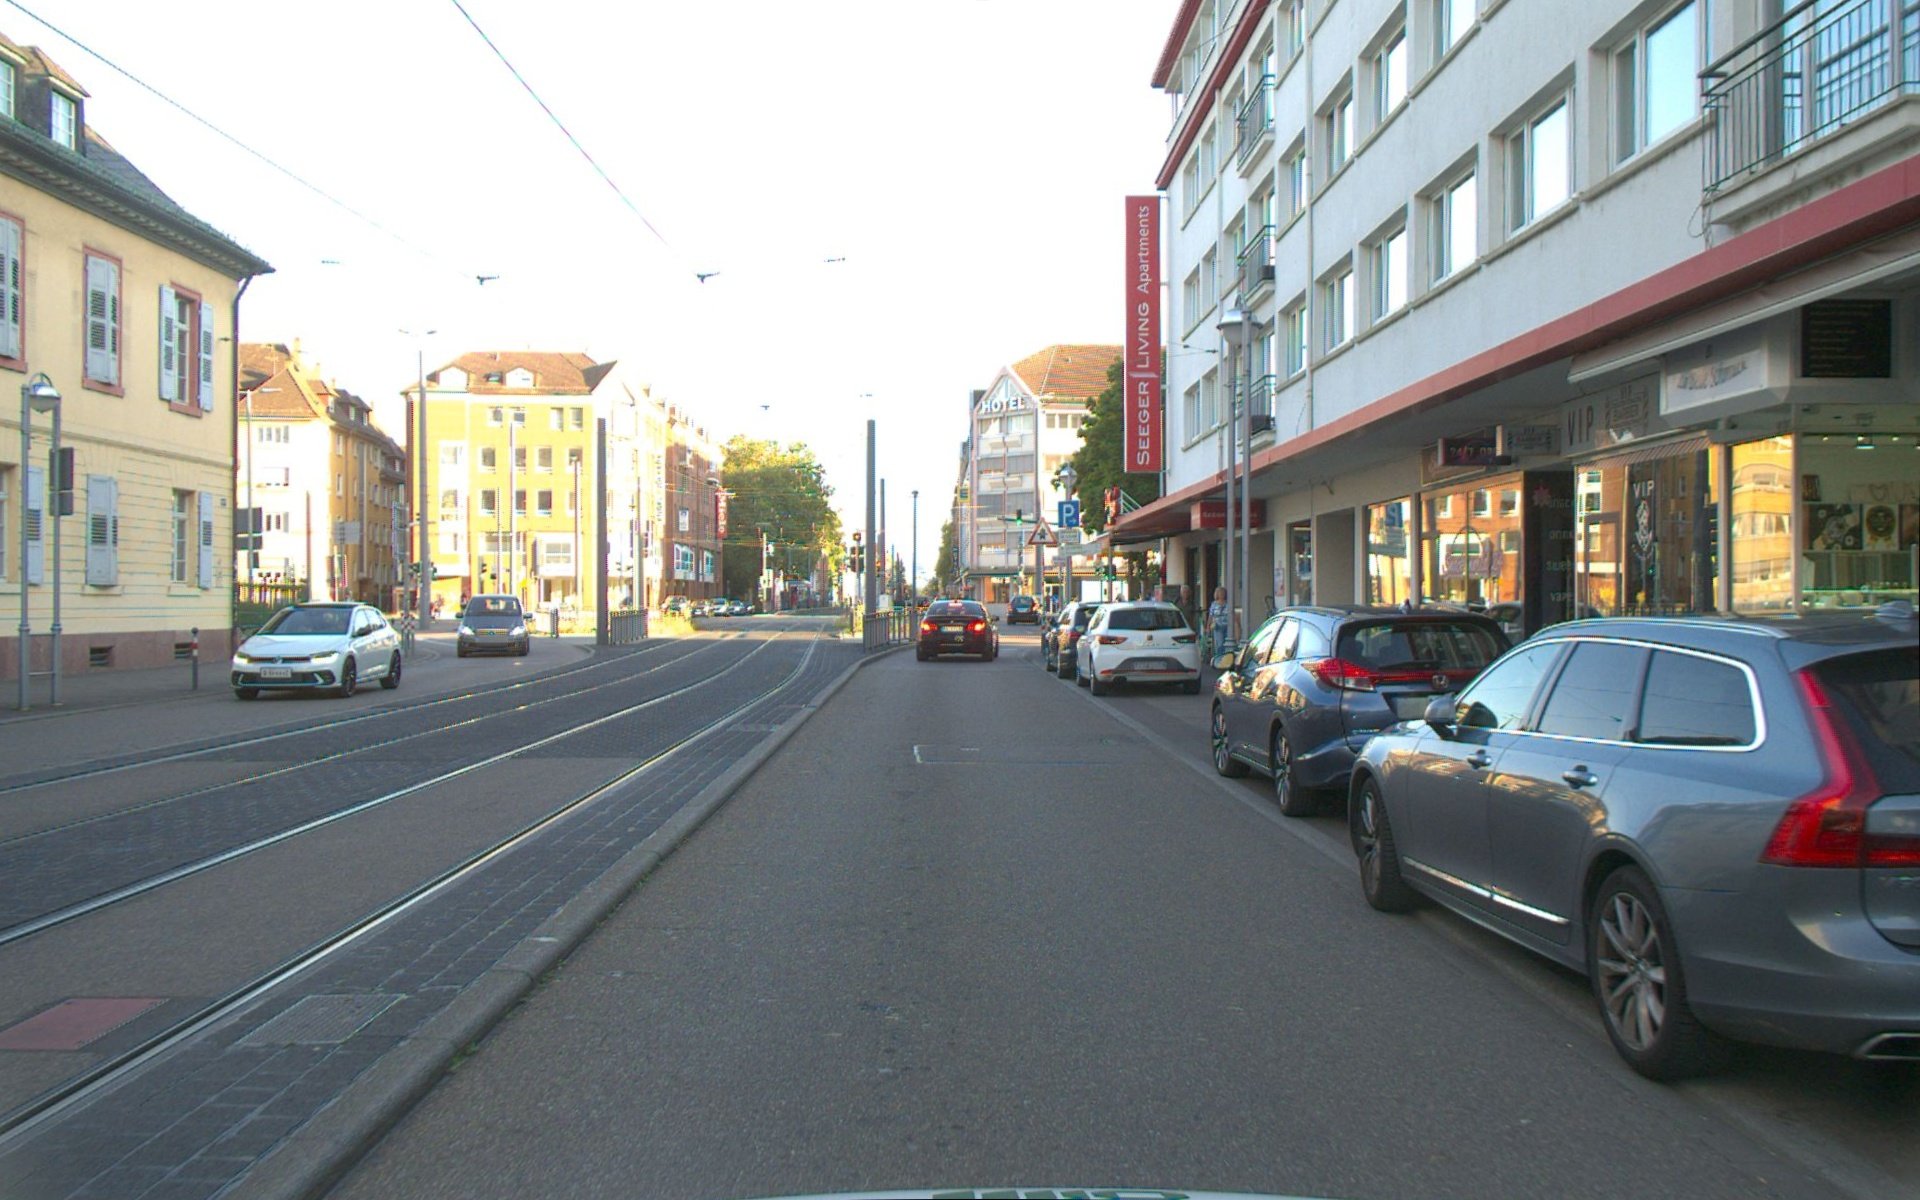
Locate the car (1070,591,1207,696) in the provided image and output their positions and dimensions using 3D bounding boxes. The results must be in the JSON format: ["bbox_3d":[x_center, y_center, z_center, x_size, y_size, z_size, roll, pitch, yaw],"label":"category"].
[{"bbox_3d":[2.856,0.660,27.234,1.749,1.538,4.051,-2,0,-1],"label":"car"}]

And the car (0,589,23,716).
[{"bbox_3d":[-13.281,0.672,19.850,1.776,1.645,4.212,2,0,-3],"label":"car"}]

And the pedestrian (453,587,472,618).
[{"bbox_3d":[-30.347,0.144,100.887,0.923,1.900,0.837,2,0,-10],"label":"pedestrian"}]

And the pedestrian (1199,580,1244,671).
[{"bbox_3d":[5.243,0.506,33.156,0.713,1.771,0.863,-2,0,-1],"label":"pedestrian"}]

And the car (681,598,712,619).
[{"bbox_3d":[-20.875,0.658,131.043,1.954,1.613,4.584,0,0,-3],"label":"car"}]

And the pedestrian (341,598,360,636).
[{"bbox_3d":[-30.668,0.868,83.211,0.870,1.900,0.970,0,0,-22],"label":"pedestrian"}]

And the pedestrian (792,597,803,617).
[{"bbox_3d":[-16.357,0.687,166.218,0.968,2.049,0.725,1,-1,-3],"label":"pedestrian"}]

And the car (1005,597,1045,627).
[{"bbox_3d":[3.528,0.629,90.654,1.953,1.579,3.999,0,0,-1],"label":"car"}]

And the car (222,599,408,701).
[{"bbox_3d":[-10.466,0.754,27.137,1.771,1.538,4.031,0,0,-5],"label":"car"}]

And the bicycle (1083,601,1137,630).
[{"bbox_3d":[5.577,0.568,61.603,0.832,1.038,2.049,0,0,-38],"label":"bicycle"}]

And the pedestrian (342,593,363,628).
[{"bbox_3d":[-35.227,0.597,95.949,1.010,1.978,1.090,0,0,-29],"label":"pedestrian"}]

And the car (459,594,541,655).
[{"bbox_3d":[-12.171,0.610,43.949,1.704,1.538,4.025,0,0,-10],"label":"car"}]

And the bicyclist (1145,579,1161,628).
[{"bbox_3d":[7.334,0.137,62.837,0.456,1.862,0.558,0,0,-9],"label":"bicyclist"}]

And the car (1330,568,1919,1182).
[{"bbox_3d":[2.972,0.669,6.564,1.754,1.538,4.710,-2,0,-2],"label":"car"}]

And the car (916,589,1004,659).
[{"bbox_3d":[0.052,0.562,41.115,1.952,1.612,4.002,-1,0,3],"label":"car"}]

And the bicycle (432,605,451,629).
[{"bbox_3d":[-29.579,0.964,94.358,0.606,1.348,2.013,2,0,-5],"label":"bicycle"}]

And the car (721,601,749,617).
[{"bbox_3d":[-21.644,0.834,159.089,1.634,1.473,4.205,0,0,7],"label":"car"}]

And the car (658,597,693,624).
[{"bbox_3d":[-20.712,0.750,120.654,1.954,1.934,4.808,0,0,-4],"label":"car"}]

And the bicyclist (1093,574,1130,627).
[{"bbox_3d":[5.627,0.024,61.516,0.832,1.951,1.100,0,0,-38],"label":"bicyclist"}]

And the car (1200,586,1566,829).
[{"bbox_3d":[3.087,0.700,12.995,1.700,1.538,4.303,-2,0,-1],"label":"car"}]

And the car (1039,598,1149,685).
[{"bbox_3d":[2.560,0.750,32.521,1.700,1.538,4.685,-2,0,-1],"label":"car"}]

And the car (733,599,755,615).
[{"bbox_3d":[-22.072,0.740,169.047,1.954,1.613,4.476,0,0,-3],"label":"car"}]

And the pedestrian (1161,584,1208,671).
[{"bbox_3d":[4.609,0.551,34.008,0.810,1.748,0.843,-2,0,-1],"label":"pedestrian"}]
